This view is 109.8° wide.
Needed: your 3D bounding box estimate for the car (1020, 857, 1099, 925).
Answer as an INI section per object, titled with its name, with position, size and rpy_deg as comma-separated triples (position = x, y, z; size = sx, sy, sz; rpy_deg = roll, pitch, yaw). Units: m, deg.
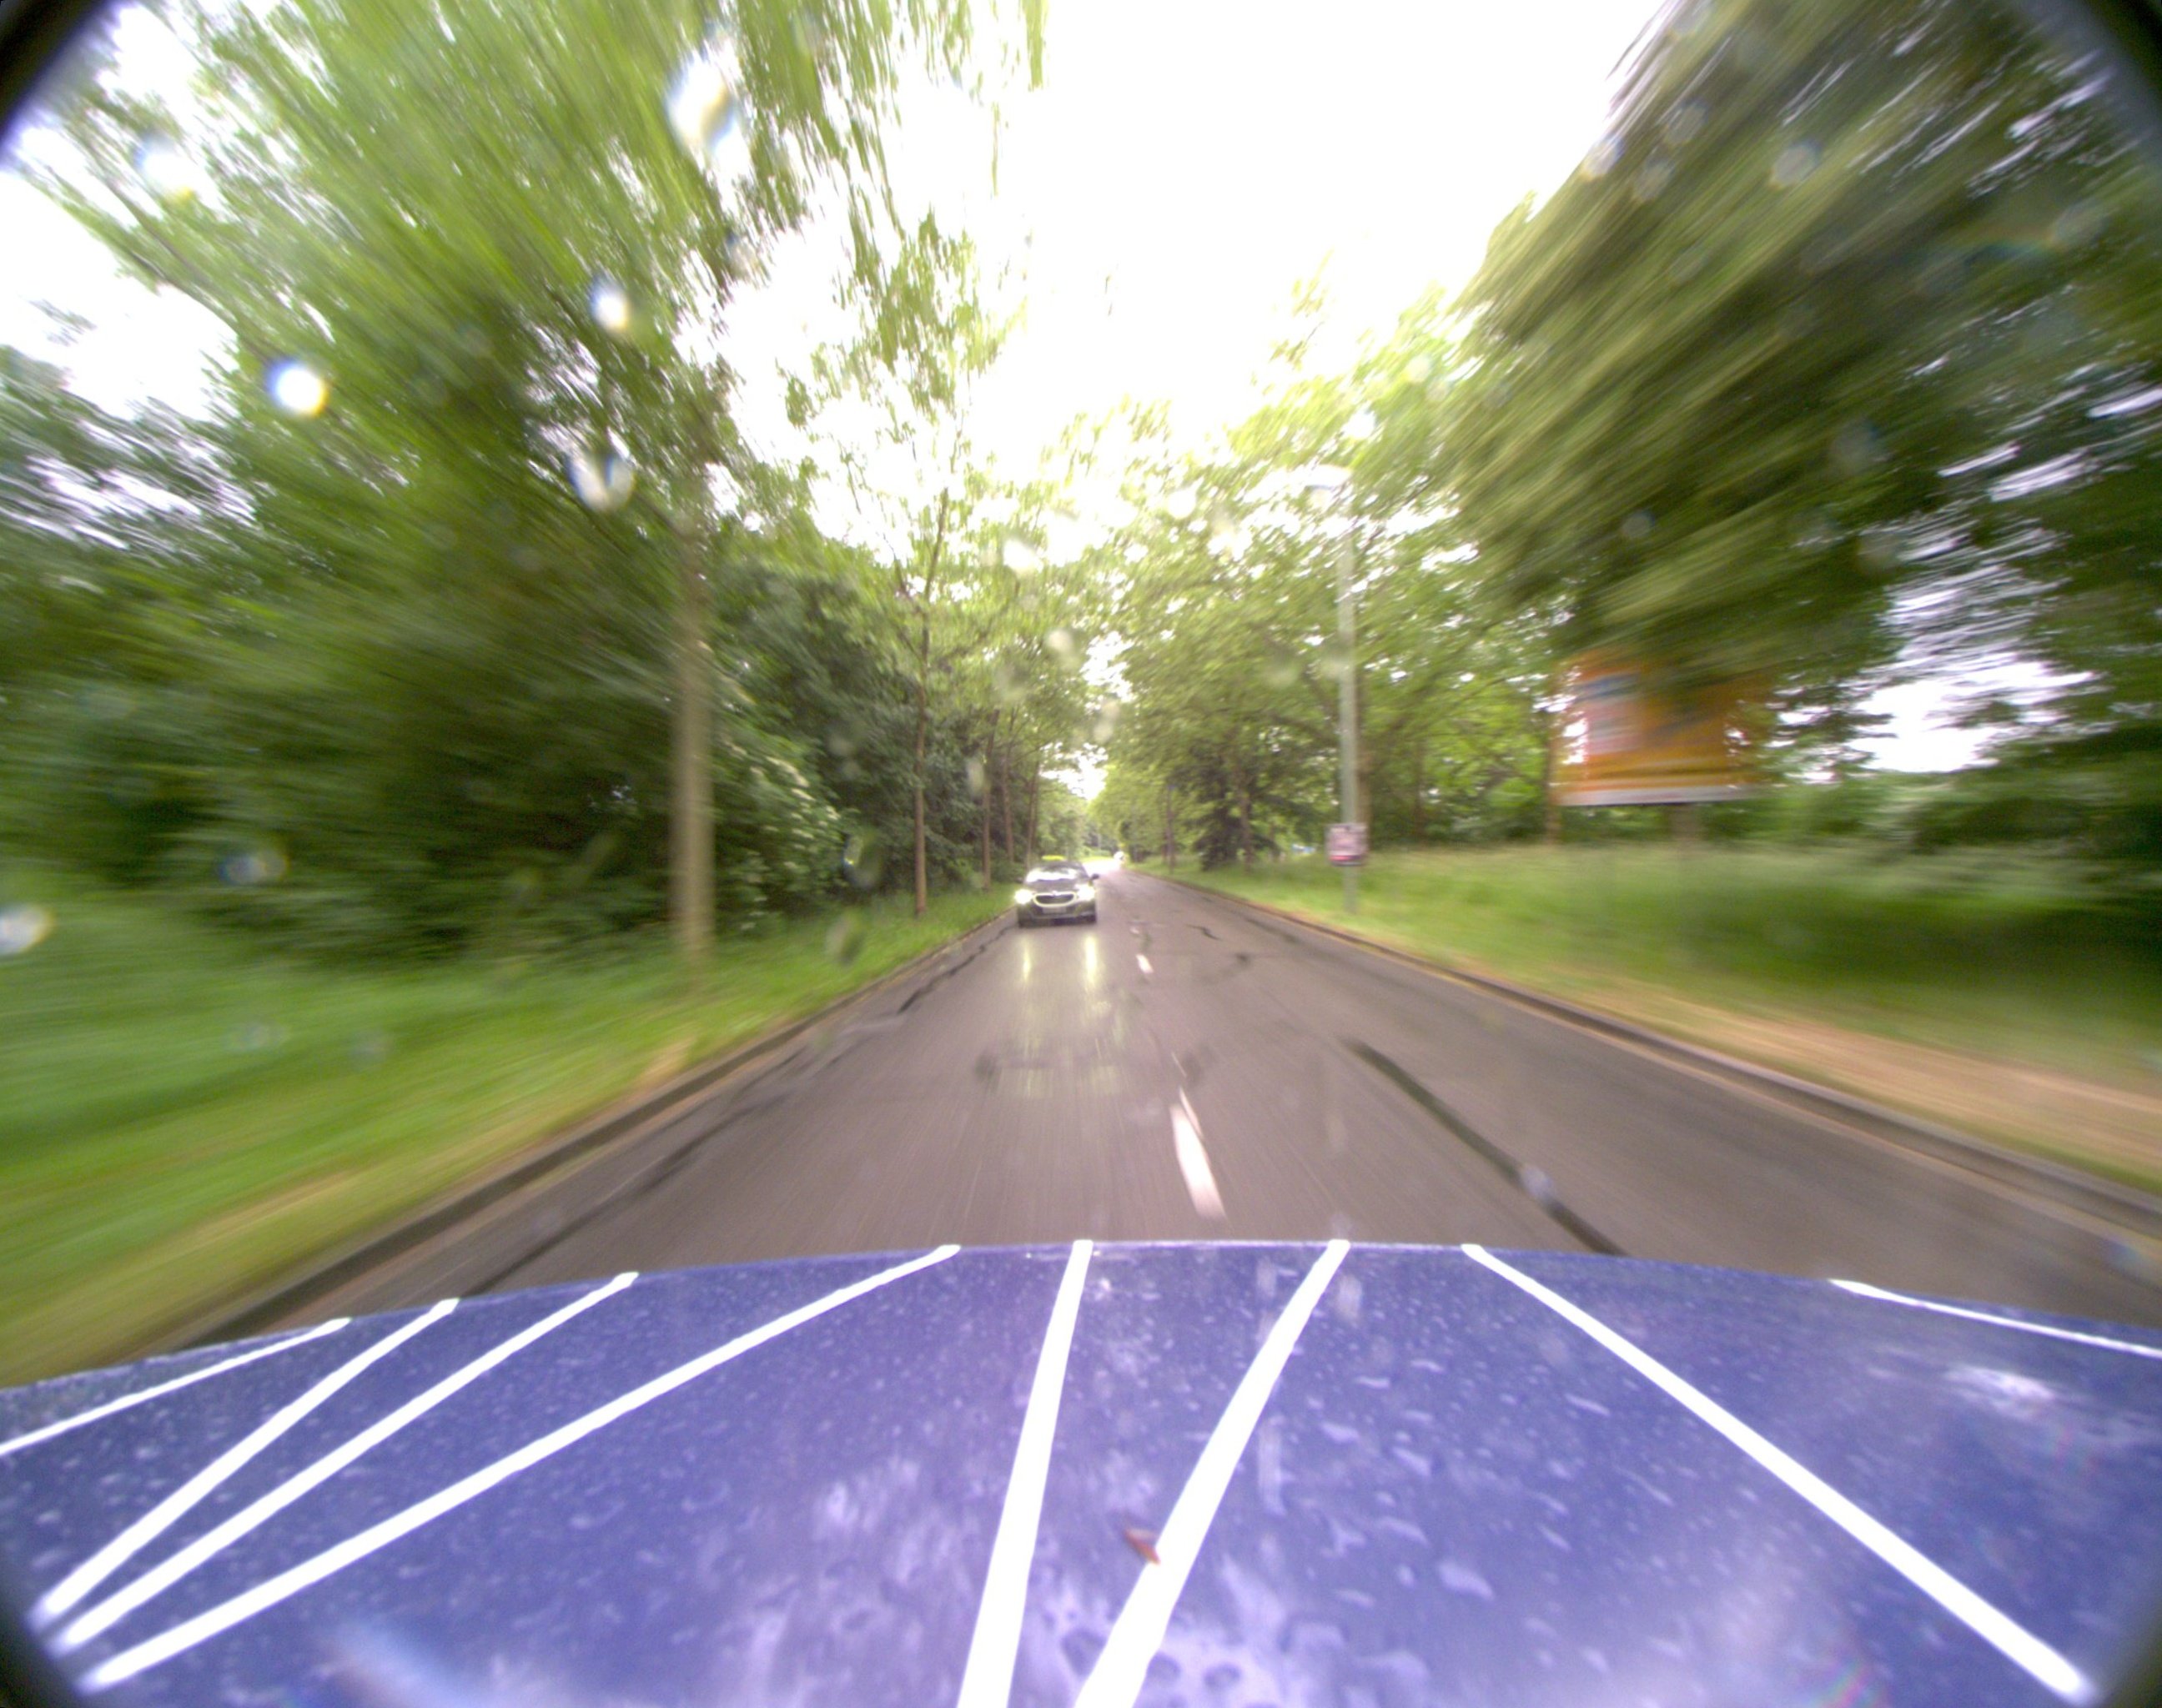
[car]
position = -0.483, 0.922, 21.040
size = 1.832, 1.499, 4.498
rpy_deg = -4, 0, 1
